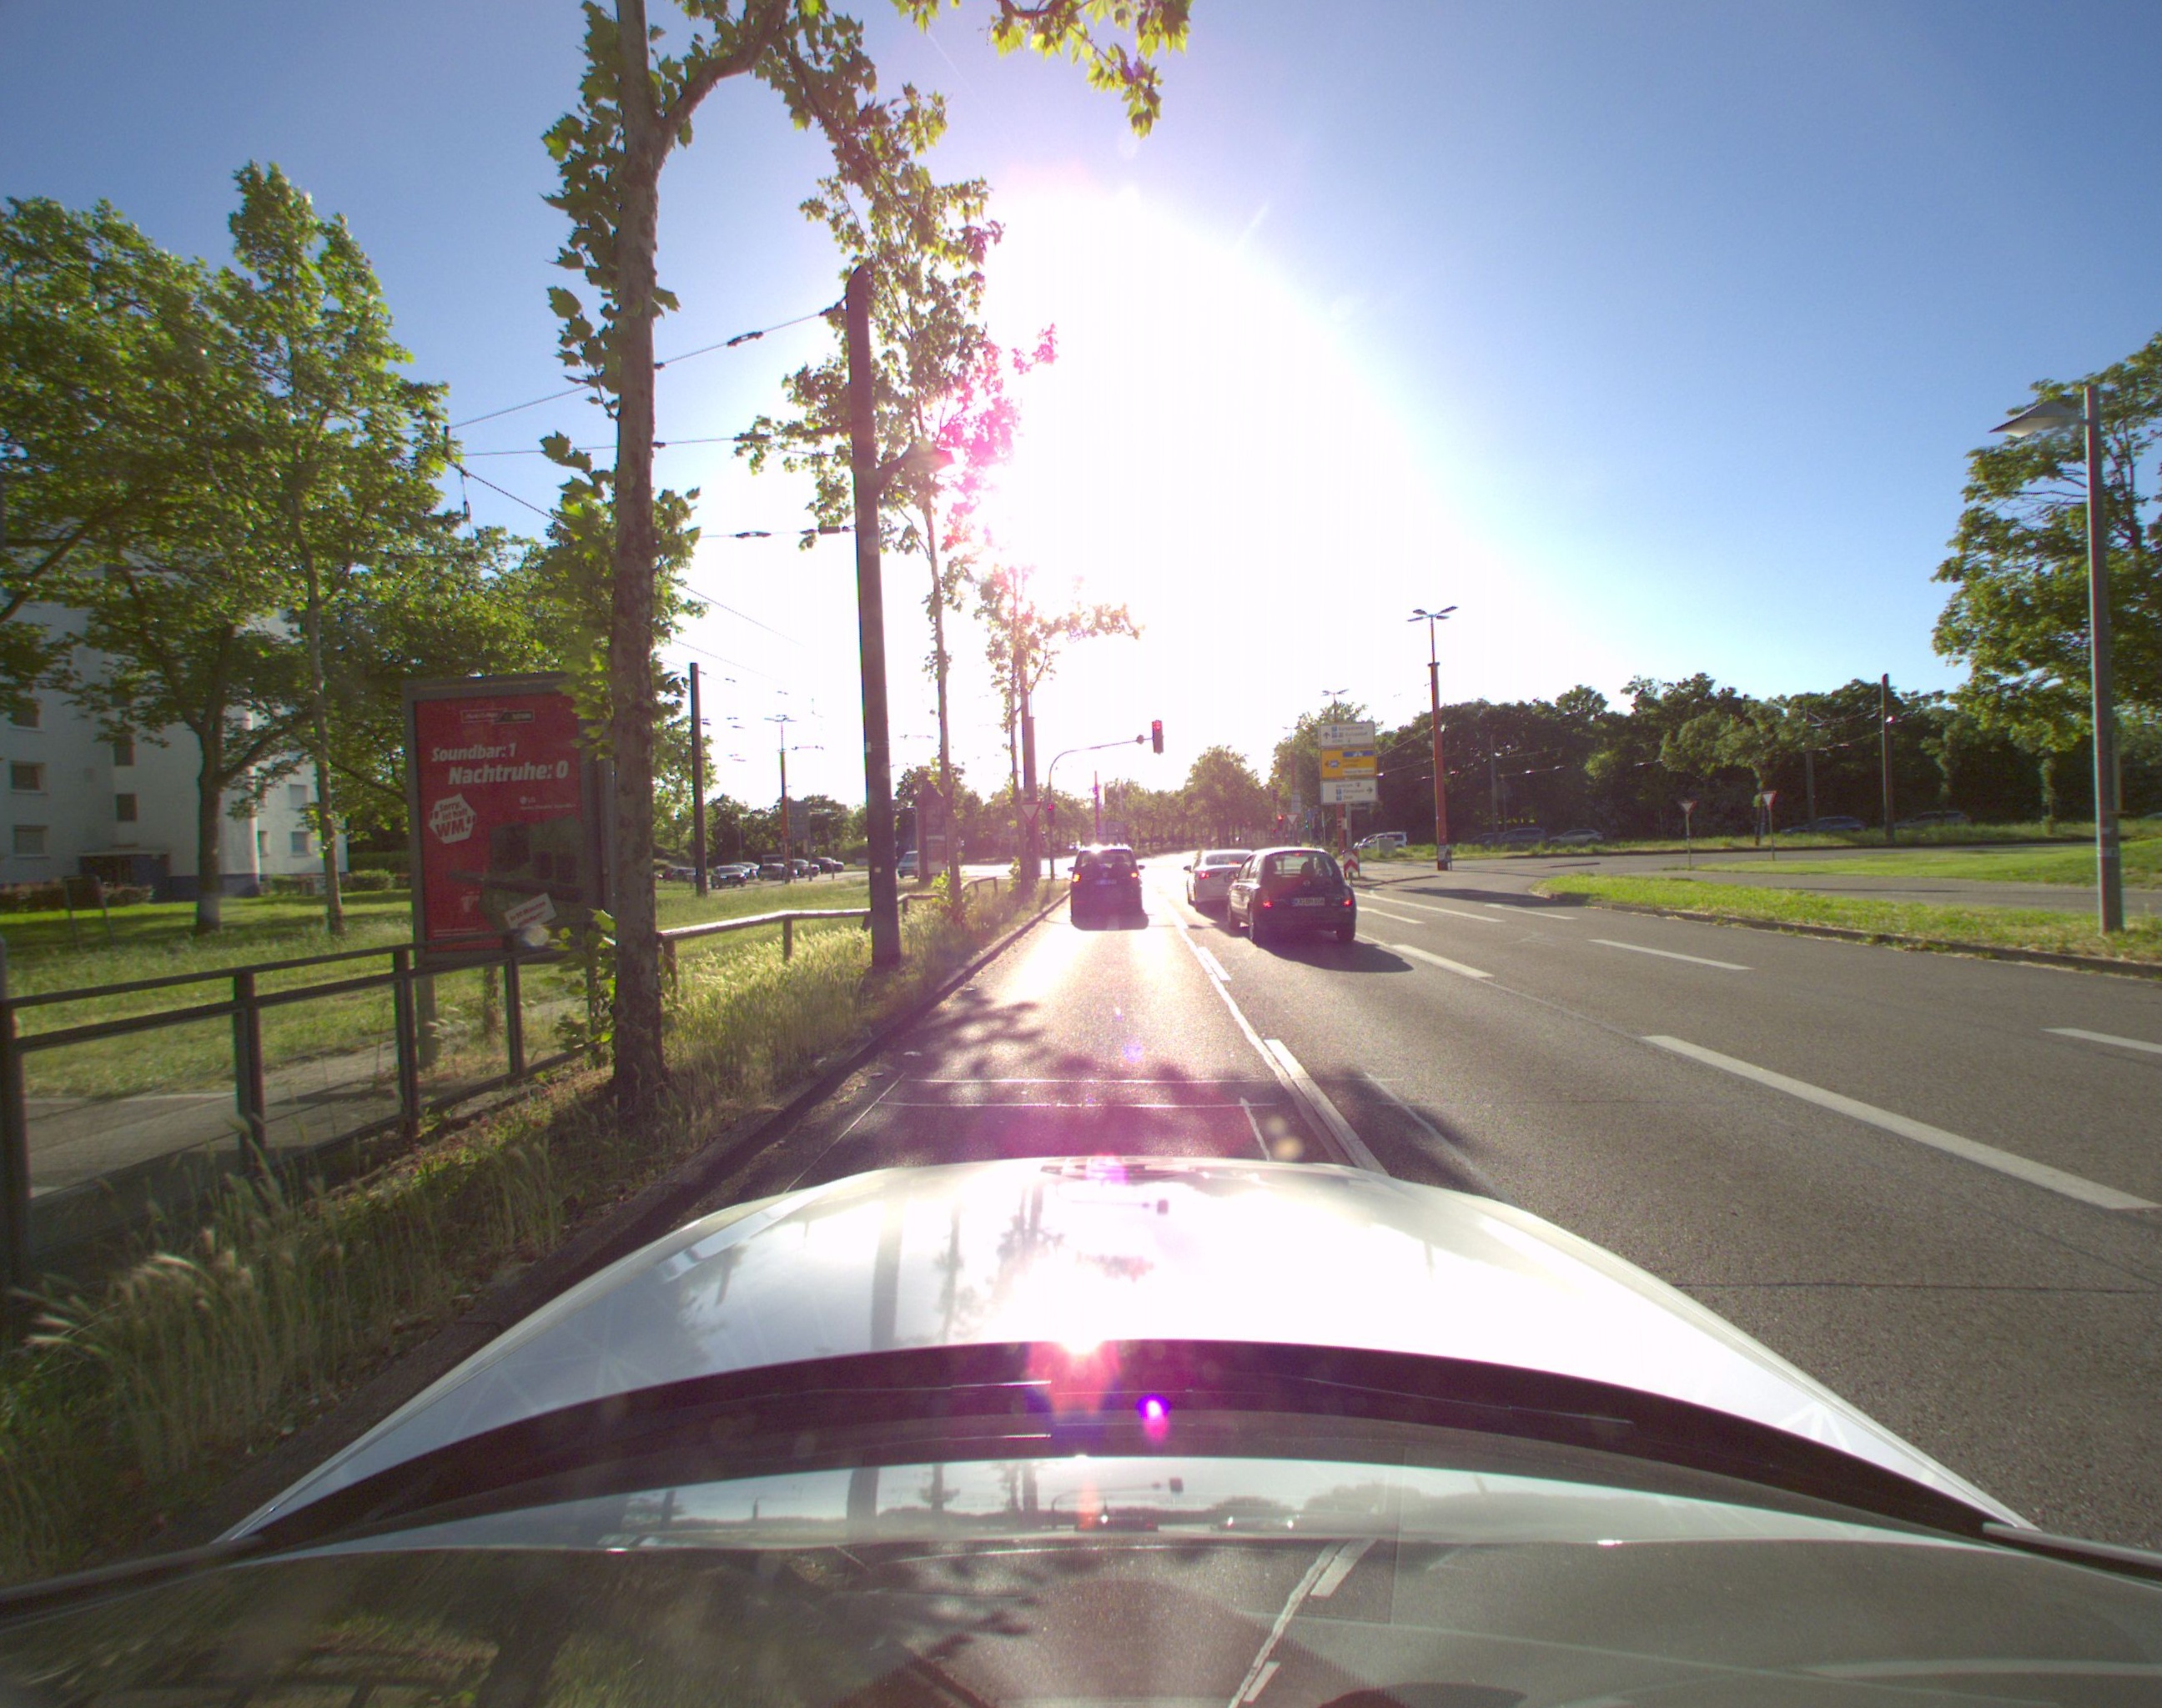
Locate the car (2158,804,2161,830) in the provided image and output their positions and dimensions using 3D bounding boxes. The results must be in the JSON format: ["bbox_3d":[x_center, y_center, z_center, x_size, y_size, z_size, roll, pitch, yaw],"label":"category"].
[{"bbox_3d":[65.675,-2.229,46.899,3.949,1.581,1.884,-1,0,30],"label":"car"}]

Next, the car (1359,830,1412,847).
[{"bbox_3d":[25.792,-1.270,68.948,3.949,1.338,1.739,-1,0,28],"label":"car"}]

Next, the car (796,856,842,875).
[{"bbox_3d":[-26.622,1.124,82.775,3.952,1.620,1.911,-3,2,21],"label":"car"}]

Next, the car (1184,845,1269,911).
[{"bbox_3d":[3.614,0.559,20.841,1.671,1.475,4.135,-1,0,4],"label":"car"}]

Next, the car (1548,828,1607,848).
[{"bbox_3d":[39.443,-1.236,64.798,3.949,1.495,1.872,-1,0,29],"label":"car"}]

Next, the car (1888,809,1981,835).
[{"bbox_3d":[57.905,-2.147,55.356,3.949,1.528,1.872,-1,0,29],"label":"car"}]

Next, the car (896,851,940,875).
[{"bbox_3d":[-12.444,0.668,62.434,1.812,1.780,4.578,-1,0,8],"label":"car"}]

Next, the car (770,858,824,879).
[{"bbox_3d":[-26.520,1.341,76.099,4.447,1.610,1.911,-3,2,21],"label":"car"}]

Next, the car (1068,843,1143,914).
[{"bbox_3d":[0.625,0.572,20.411,1.704,1.603,3.351,-1,0,2],"label":"car"}]

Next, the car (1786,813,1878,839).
[{"bbox_3d":[50.895,-1.879,55.326,4.220,1.627,1.941,-1,0,29],"label":"car"}]

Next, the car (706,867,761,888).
[{"bbox_3d":[-32.261,2.184,75.638,4.447,1.610,1.911,-3,2,21],"label":"car"}]

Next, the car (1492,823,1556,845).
[{"bbox_3d":[34.739,-1.529,63.964,4.310,1.559,1.883,-1,0,27],"label":"car"}]

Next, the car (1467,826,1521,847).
[{"bbox_3d":[34.417,-1.446,67.869,3.949,1.561,1.911,-1,0,29],"label":"car"}]

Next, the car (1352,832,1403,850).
[{"bbox_3d":[26.298,-1.167,72.246,3.949,1.476,1.800,-1,0,28],"label":"car"}]

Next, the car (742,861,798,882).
[{"bbox_3d":[-27.831,1.571,72.829,4.447,1.610,1.911,-3,2,21],"label":"car"}]

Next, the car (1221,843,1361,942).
[{"bbox_3d":[3.542,0.578,14.297,1.632,1.494,3.505,-1,0,2],"label":"car"}]

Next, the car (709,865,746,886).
[{"bbox_3d":[-26.747,1.590,61.575,1.907,1.543,4.454,-1,0,-33],"label":"car"}]
